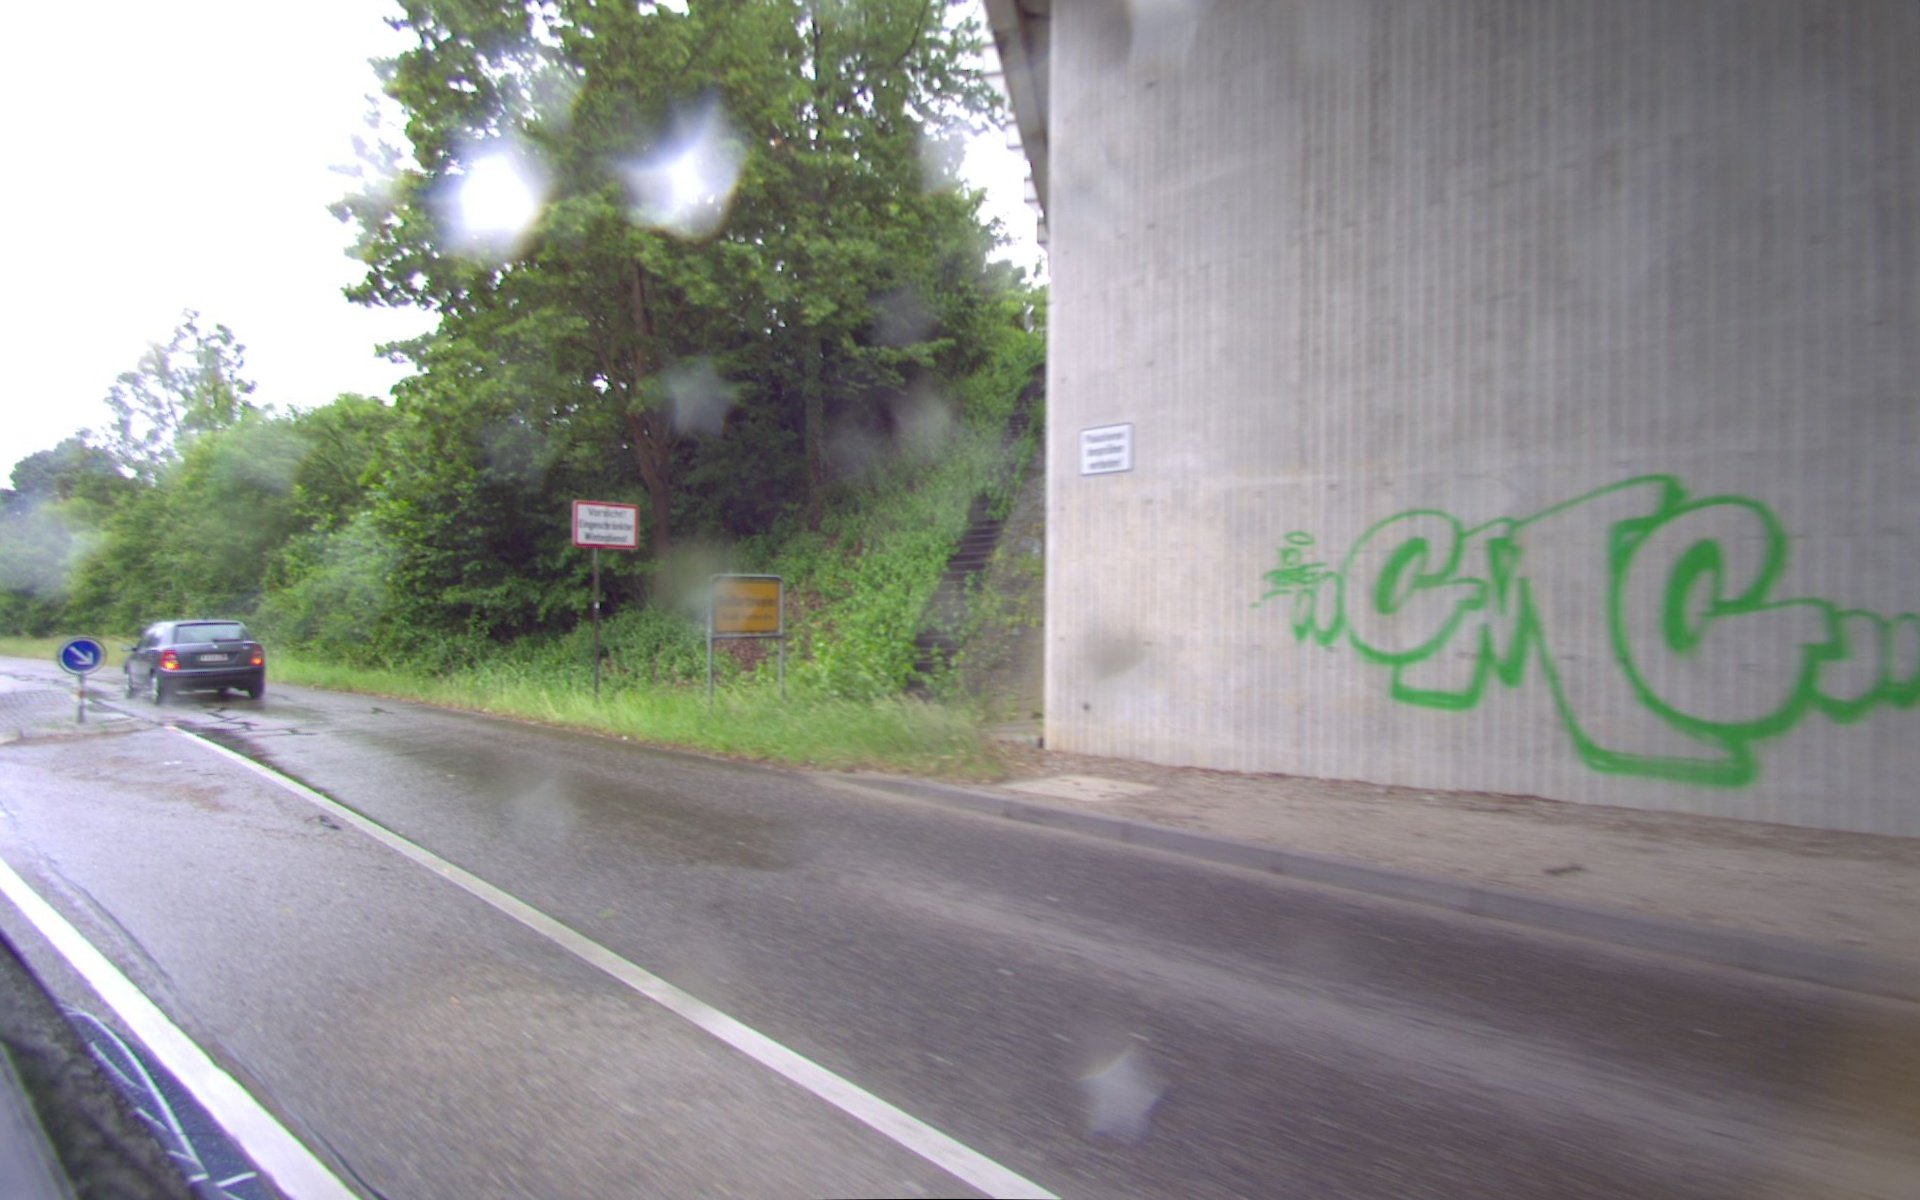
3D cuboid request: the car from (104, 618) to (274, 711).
[{"bbox_3d":[-14.311,1.106,18.707,4.070,1.498,1.673,-1,0,40],"label":"car"}]
